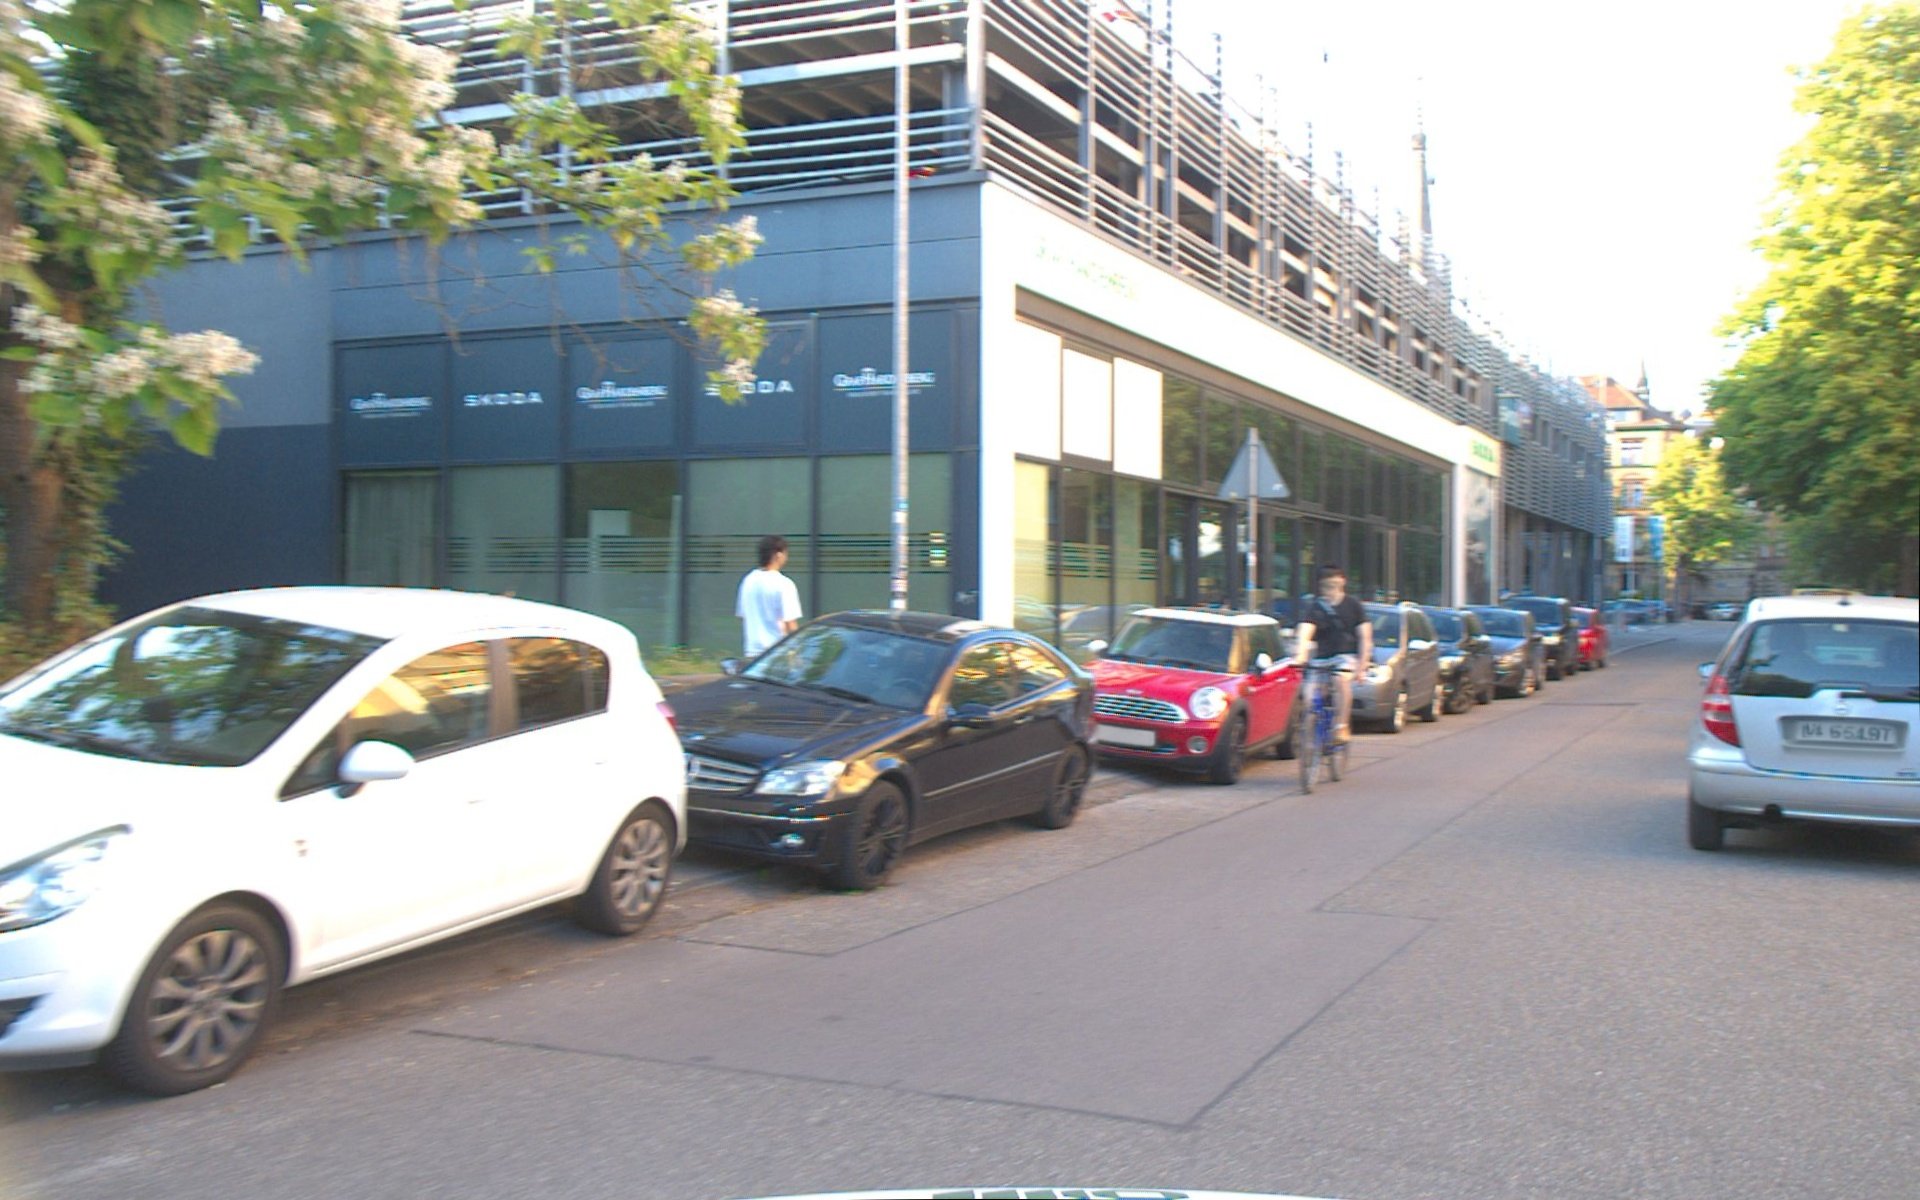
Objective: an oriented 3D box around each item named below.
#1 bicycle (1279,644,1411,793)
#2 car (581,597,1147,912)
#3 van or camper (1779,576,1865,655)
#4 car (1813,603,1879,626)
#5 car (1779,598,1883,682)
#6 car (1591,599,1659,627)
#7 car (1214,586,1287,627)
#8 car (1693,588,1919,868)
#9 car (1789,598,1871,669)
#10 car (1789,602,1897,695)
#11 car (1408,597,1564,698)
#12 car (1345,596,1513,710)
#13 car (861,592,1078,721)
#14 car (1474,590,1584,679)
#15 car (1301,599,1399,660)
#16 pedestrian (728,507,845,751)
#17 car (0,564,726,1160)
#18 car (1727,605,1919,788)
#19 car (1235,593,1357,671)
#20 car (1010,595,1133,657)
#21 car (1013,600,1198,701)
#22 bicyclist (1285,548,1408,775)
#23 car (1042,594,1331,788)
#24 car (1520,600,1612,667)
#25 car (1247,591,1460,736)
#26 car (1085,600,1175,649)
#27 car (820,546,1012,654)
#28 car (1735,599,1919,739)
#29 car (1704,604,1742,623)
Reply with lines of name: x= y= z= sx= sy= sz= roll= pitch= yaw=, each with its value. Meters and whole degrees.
bicycle: x=3.292 y=0.967 z=14.009 sx=0.744 sy=1.116 sz=1.863 roll=-2 pitch=-1 yaw=23
car: x=-0.351 y=0.781 z=10.725 sx=1.630 sy=1.440 sz=4.410 roll=6 pitch=3 yaw=26
van or camper: x=24.508 y=0.385 z=47.165 sx=2.023 sy=2.132 sz=5.086 roll=0 pitch=1 yaw=26
car: x=60.346 y=0.979 z=112.645 sx=3.899 sy=1.492 sz=1.871 roll=0 pitch=1 yaw=-19
car: x=17.700 y=0.760 z=33.717 sx=1.757 sy=1.590 sz=4.189 roll=0 pitch=0 yaw=27
car: x=44.074 y=0.839 z=109.616 sx=4.048 sy=1.646 sz=1.912 roll=2 pitch=2 yaw=26
car: x=9.633 y=0.190 z=54.623 sx=1.392 sy=1.277 sz=3.522 roll=0 pitch=1 yaw=27
car: x=6.095 y=0.720 z=11.324 sx=1.774 sy=1.603 sz=3.880 roll=0 pitch=0 yaw=27
car: x=19.872 y=0.726 z=37.875 sx=1.578 sy=1.537 sz=3.474 roll=0 pitch=0 yaw=27
car: x=15.552 y=0.800 z=29.255 sx=1.578 sy=1.487 sz=4.049 roll=0 pitch=0 yaw=27
car: x=9.539 y=0.790 z=29.790 sx=1.900 sy=1.624 sz=4.198 roll=0 pitch=1 yaw=29
car: x=7.242 y=0.736 z=25.298 sx=1.695 sy=1.426 sz=4.003 roll=6 pitch=3 yaw=26
car: x=0.224 y=0.734 z=23.749 sx=1.562 sy=1.679 sz=3.872 roll=0 pitch=0 yaw=27
car: x=12.327 y=0.687 z=35.670 sx=1.664 sy=1.787 sz=4.398 roll=0 pitch=0 yaw=27
car: x=10.250 y=0.747 z=43.297 sx=1.664 sy=1.499 sz=3.777 roll=0 pitch=0 yaw=27
pedestrian: x=-1.400 y=0.224 z=13.383 sx=0.707 sy=1.911 sz=0.619 roll=0 pitch=0 yaw=29
car: x=-2.624 y=0.672 z=6.536 sx=1.628 sy=1.540 sz=3.885 roll=3 pitch=2 yaw=21
car: x=8.154 y=0.792 z=15.426 sx=1.683 sy=1.444 sz=4.023 roll=0 pitch=0 yaw=27
car: x=7.834 y=0.687 z=38.292 sx=1.664 sy=1.687 sz=4.405 roll=0 pitch=0 yaw=27
car: x=2.815 y=0.618 z=41.176 sx=1.664 sy=1.459 sz=3.916 roll=0 pitch=0 yaw=27
car: x=2.535 y=0.780 z=27.835 sx=1.664 sy=1.541 sz=4.187 roll=0 pitch=0 yaw=27
bicyclist: x=3.285 y=0.495 z=14.004 sx=0.841 sy=1.839 sz=1.016 roll=0 pitch=0 yaw=23
car: x=2.290 y=0.746 z=15.793 sx=1.629 sy=1.435 sz=3.925 roll=5 pitch=3 yaw=24
car: x=14.806 y=0.769 z=40.297 sx=1.664 sy=1.532 sz=3.786 roll=0 pitch=0 yaw=27
car: x=5.103 y=0.728 z=21.110 sx=1.631 sy=1.523 sz=3.879 roll=6 pitch=3 yaw=28
car: x=4.763 y=0.654 z=46.042 sx=1.392 sy=1.277 sz=3.210 roll=0 pitch=1 yaw=28
car: x=-0.663 y=-0.006 z=27.839 sx=1.664 sy=1.687 sz=3.734 roll=0 pitch=0 yaw=27
car: x=10.208 y=0.728 z=19.525 sx=1.774 sy=1.441 sz=3.891 roll=0 pitch=0 yaw=27
car: x=63.754 y=1.154 z=138.285 sx=1.619 sy=1.456 sz=4.170 roll=0 pitch=1 yaw=5
